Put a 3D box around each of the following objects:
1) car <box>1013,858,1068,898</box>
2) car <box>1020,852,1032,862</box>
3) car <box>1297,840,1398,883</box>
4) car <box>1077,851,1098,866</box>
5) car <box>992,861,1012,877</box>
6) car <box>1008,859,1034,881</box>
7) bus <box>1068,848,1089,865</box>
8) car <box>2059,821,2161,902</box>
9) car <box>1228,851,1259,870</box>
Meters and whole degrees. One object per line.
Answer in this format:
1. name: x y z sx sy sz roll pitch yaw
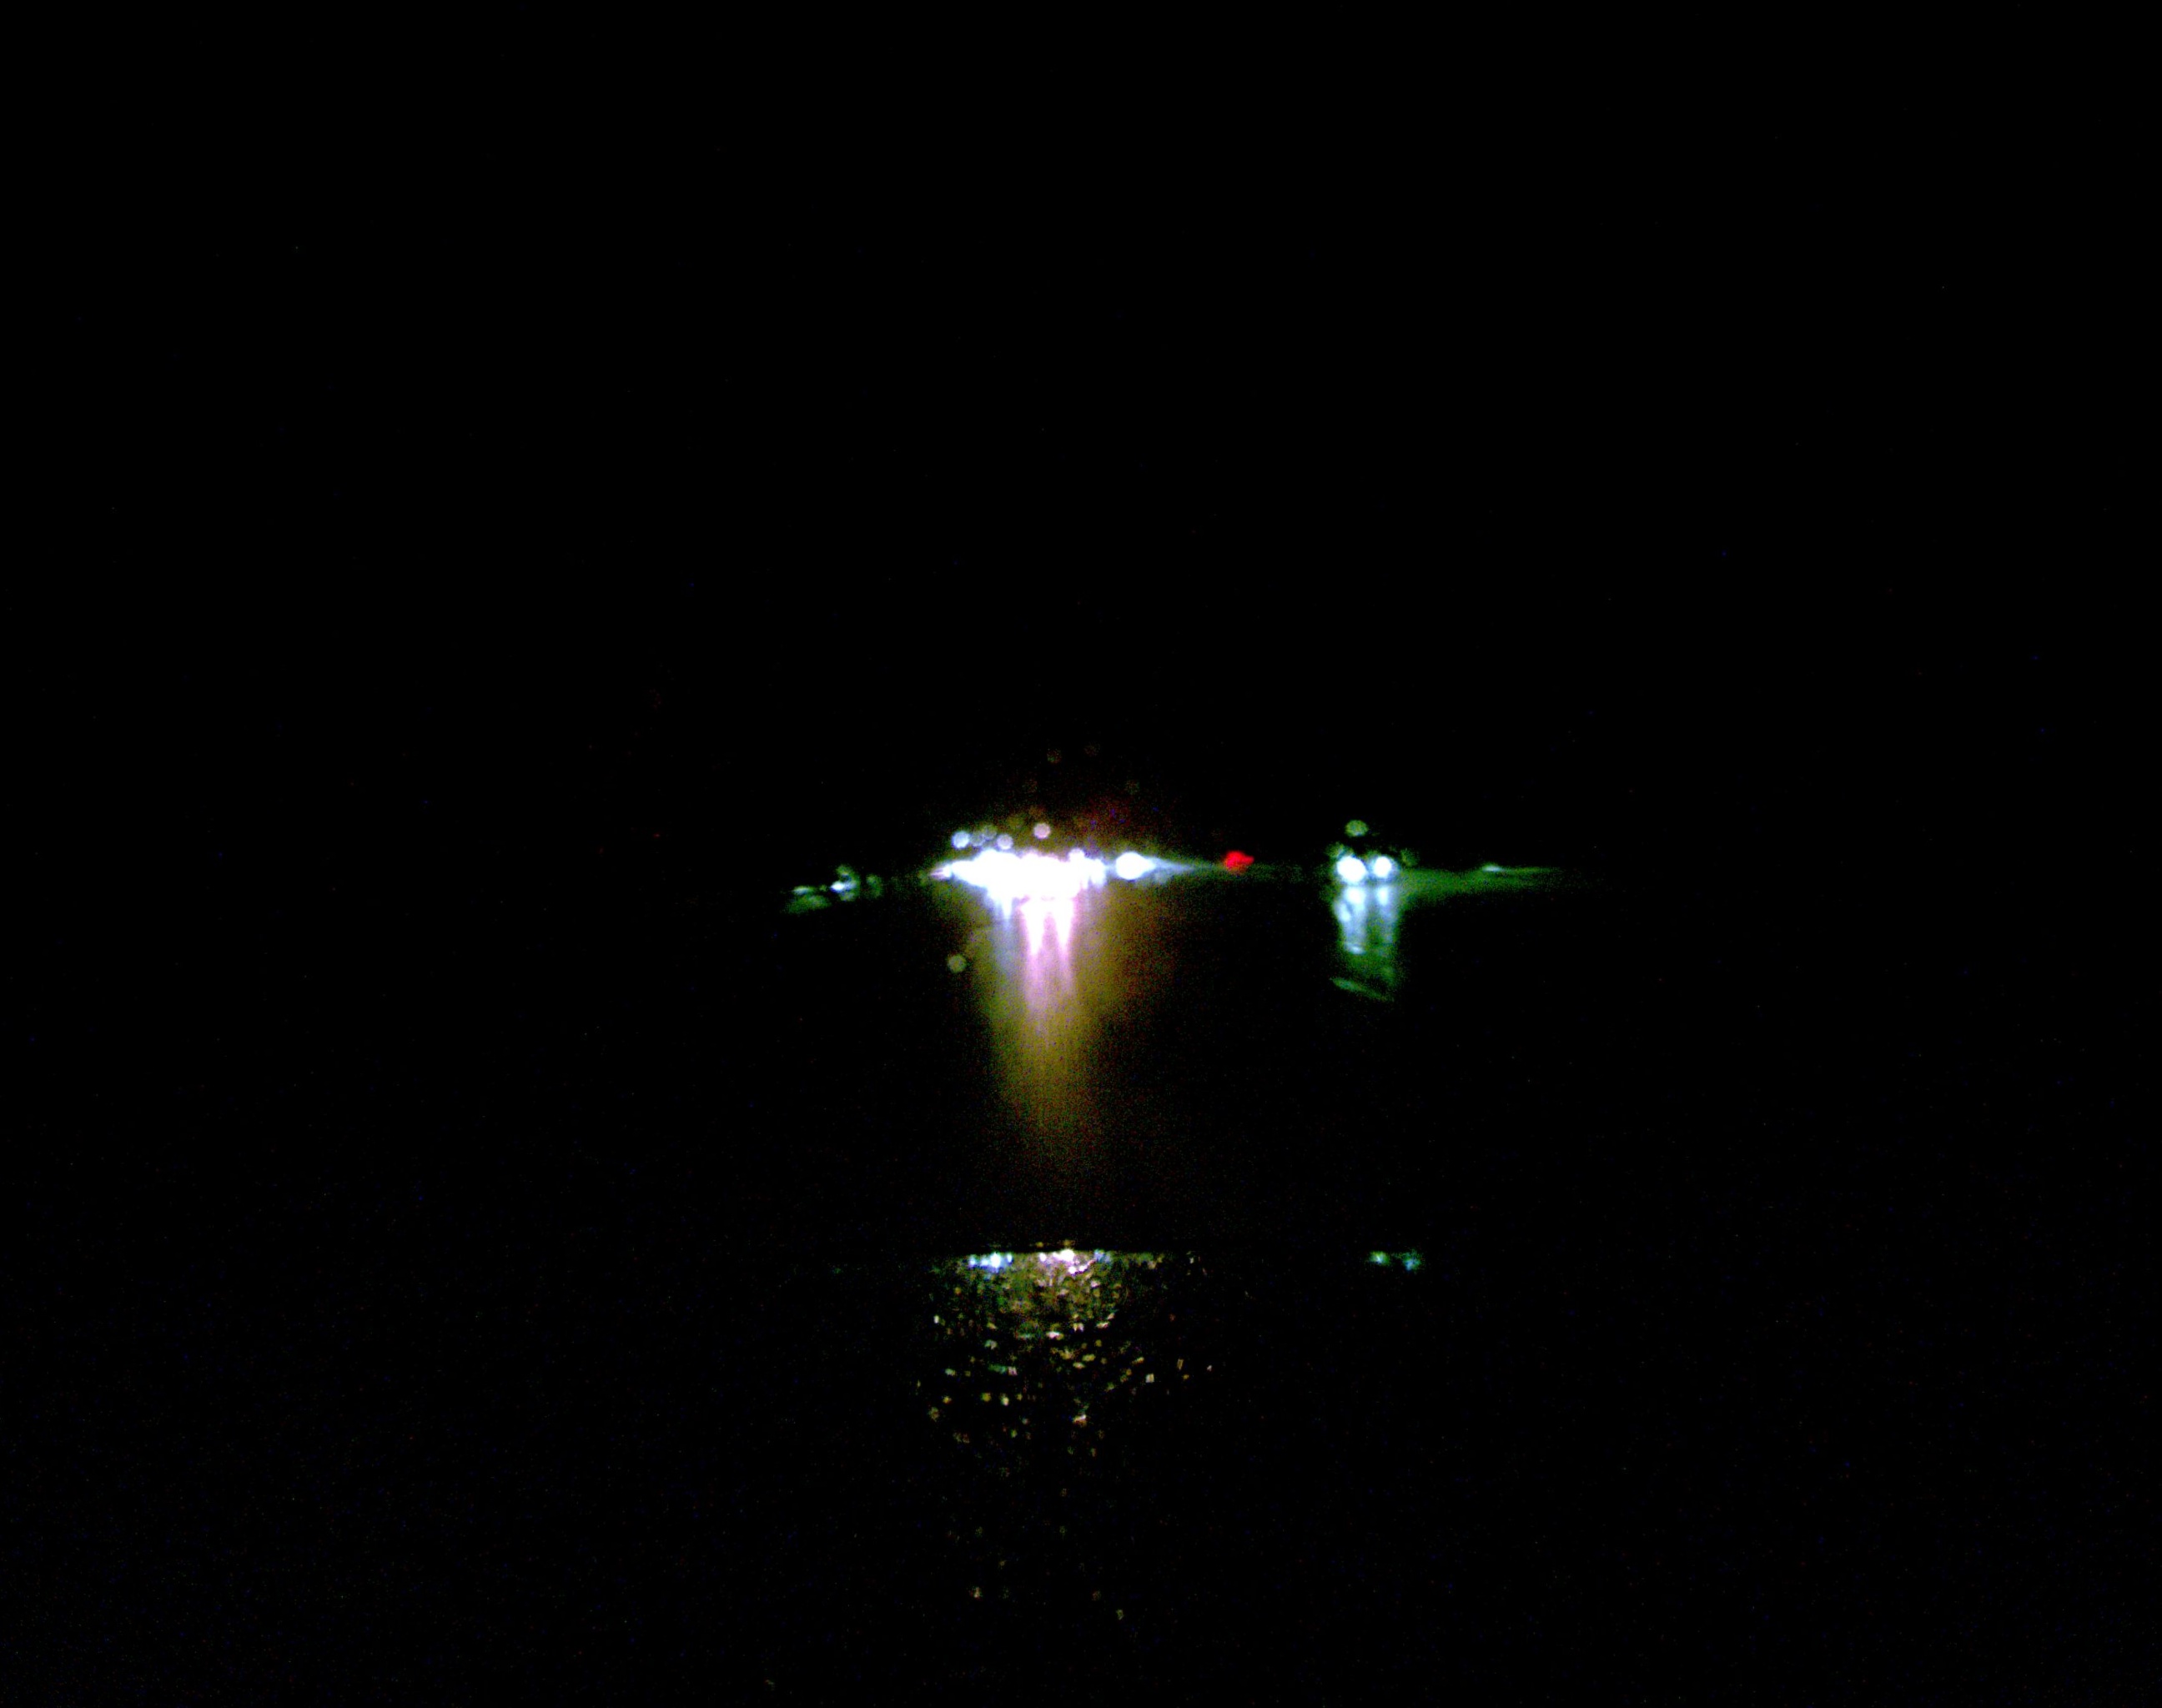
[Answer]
1. car: -1.885 1.059 33.816 2.000 1.542 3.998 -4 -2 -8
2. car: -10.755 0.612 147.191 2.000 1.797 3.997 -3 1 -7
3. car: 10.869 0.282 31.411 2.000 1.551 4.584 -3 1 -8
4. car: 0.827 0.572 95.694 2.000 1.797 3.997 -3 1 -7
5. car: -8.277 1.594 79.444 1.814 1.477 3.579 -4 1 -9
6. car: -4.618 1.183 58.440 1.814 1.477 3.580 -3 1 -6
7. bus: -0.762 0.685 213.231 3.084 4.464 16.998 -4 1 -9
8. car: 25.862 0.151 17.275 1.910 1.797 3.997 -4 1 -8
9. car: 16.938 0.646 79.365 1.910 1.797 3.997 -4 1 -8
